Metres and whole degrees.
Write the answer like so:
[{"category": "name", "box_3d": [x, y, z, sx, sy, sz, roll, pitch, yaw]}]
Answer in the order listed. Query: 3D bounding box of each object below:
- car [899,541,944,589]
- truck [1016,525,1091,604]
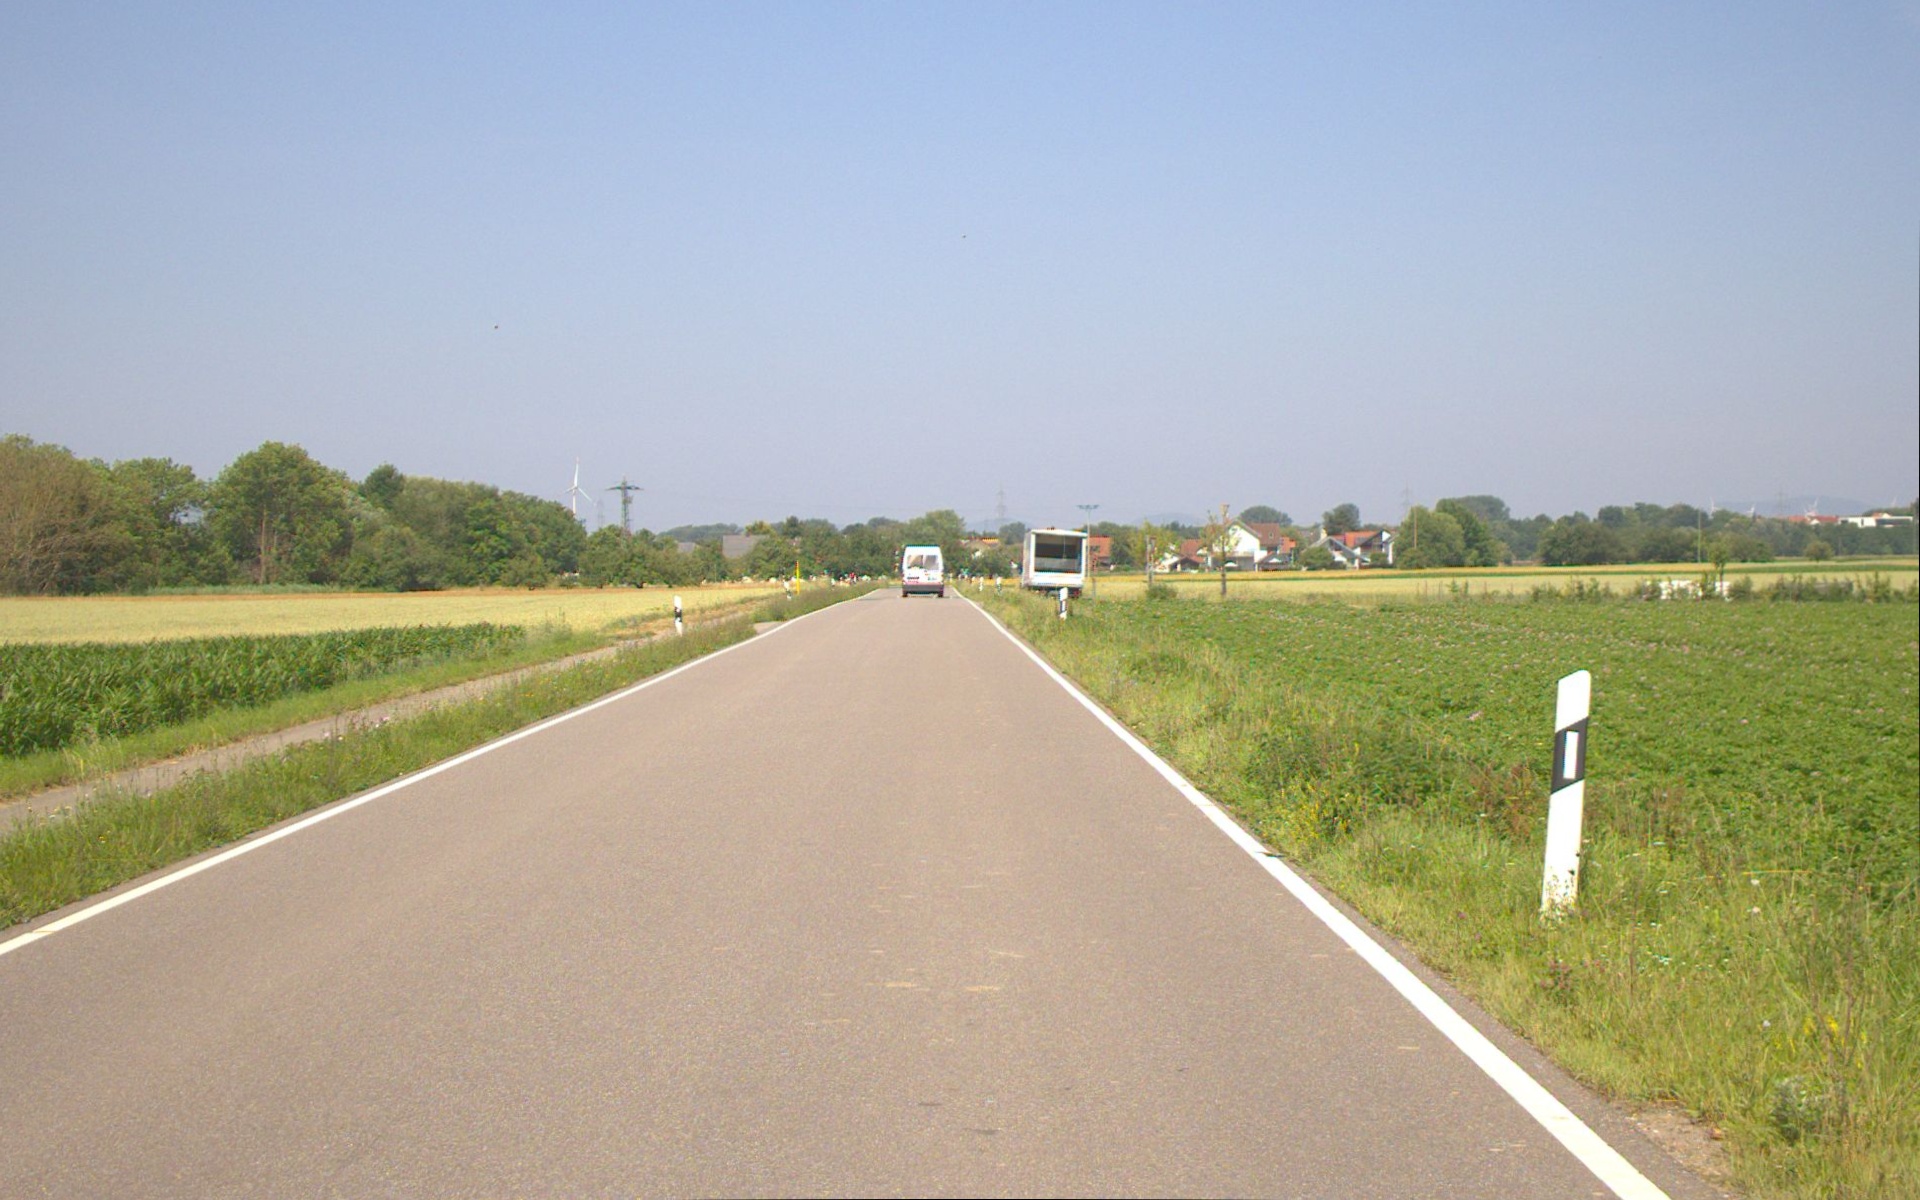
[{"category": "car", "box_3d": [-1.897, -1.705, 168.662, 2.107, 2.296, 5.496, 1, 0, -1]}, {"category": "truck", "box_3d": [3.633, -1.373, 134.603, 2.335, 2.932, 7.009, 2, 0, -2]}]
